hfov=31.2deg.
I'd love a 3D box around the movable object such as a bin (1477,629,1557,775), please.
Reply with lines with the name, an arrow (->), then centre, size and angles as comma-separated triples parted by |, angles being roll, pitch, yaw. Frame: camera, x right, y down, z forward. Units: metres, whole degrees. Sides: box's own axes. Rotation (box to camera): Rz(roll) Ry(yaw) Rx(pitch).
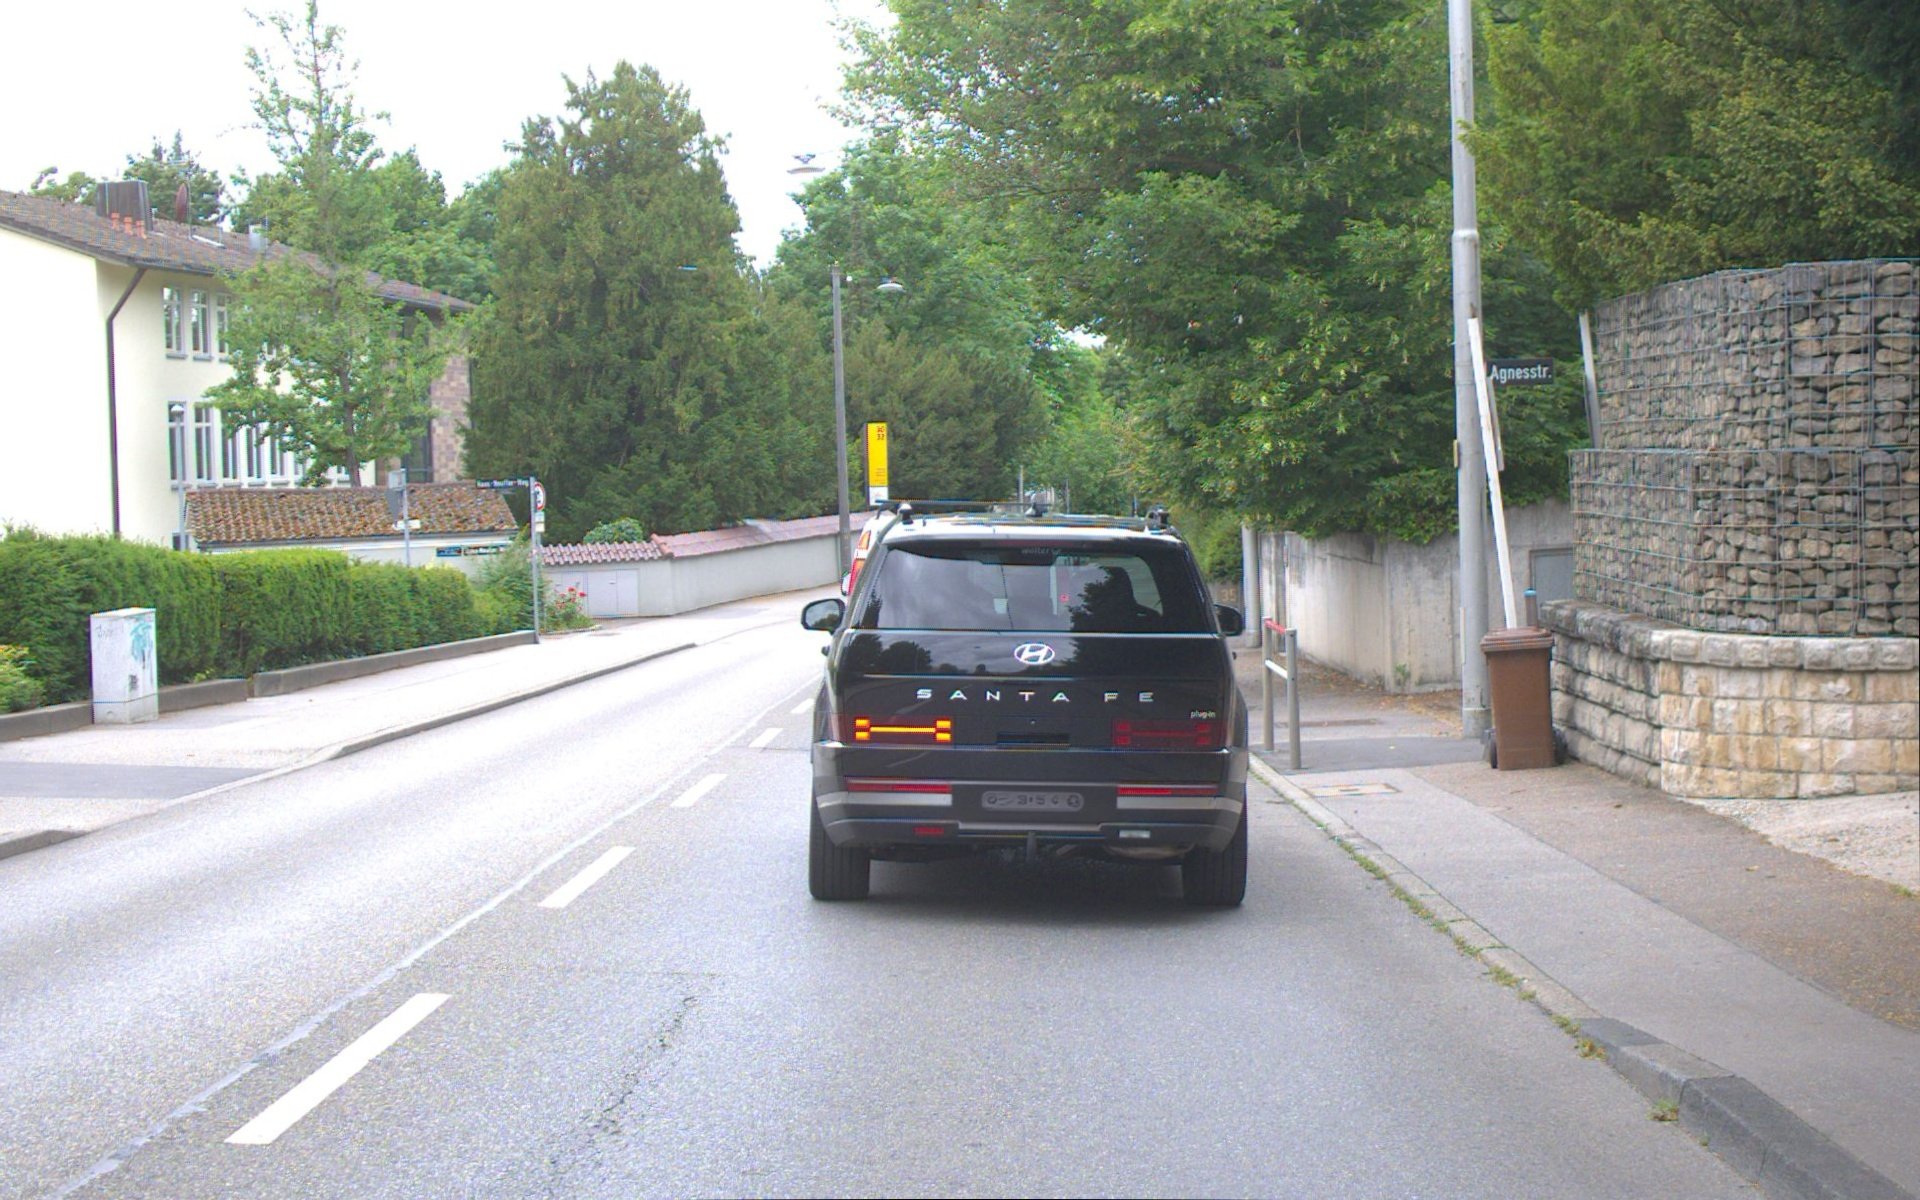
movable object such as a bin -> 3.641, 0.662, 22.458 | 0.445, 0.907, 0.394 | -4, 0, 10

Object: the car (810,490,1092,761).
car -> -0.158, 0.131, 28.184 | 1.957, 1.949, 4.224 | 1, 3, -4

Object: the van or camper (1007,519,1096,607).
van or camper -> 2.279, -0.927, 84.784 | 1.676, 2.000, 3.937 | -1, 2, 9

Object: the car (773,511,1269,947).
car -> 0.276, 0.479, 16.004 | 1.957, 1.707, 4.223 | 2, 1, 1
